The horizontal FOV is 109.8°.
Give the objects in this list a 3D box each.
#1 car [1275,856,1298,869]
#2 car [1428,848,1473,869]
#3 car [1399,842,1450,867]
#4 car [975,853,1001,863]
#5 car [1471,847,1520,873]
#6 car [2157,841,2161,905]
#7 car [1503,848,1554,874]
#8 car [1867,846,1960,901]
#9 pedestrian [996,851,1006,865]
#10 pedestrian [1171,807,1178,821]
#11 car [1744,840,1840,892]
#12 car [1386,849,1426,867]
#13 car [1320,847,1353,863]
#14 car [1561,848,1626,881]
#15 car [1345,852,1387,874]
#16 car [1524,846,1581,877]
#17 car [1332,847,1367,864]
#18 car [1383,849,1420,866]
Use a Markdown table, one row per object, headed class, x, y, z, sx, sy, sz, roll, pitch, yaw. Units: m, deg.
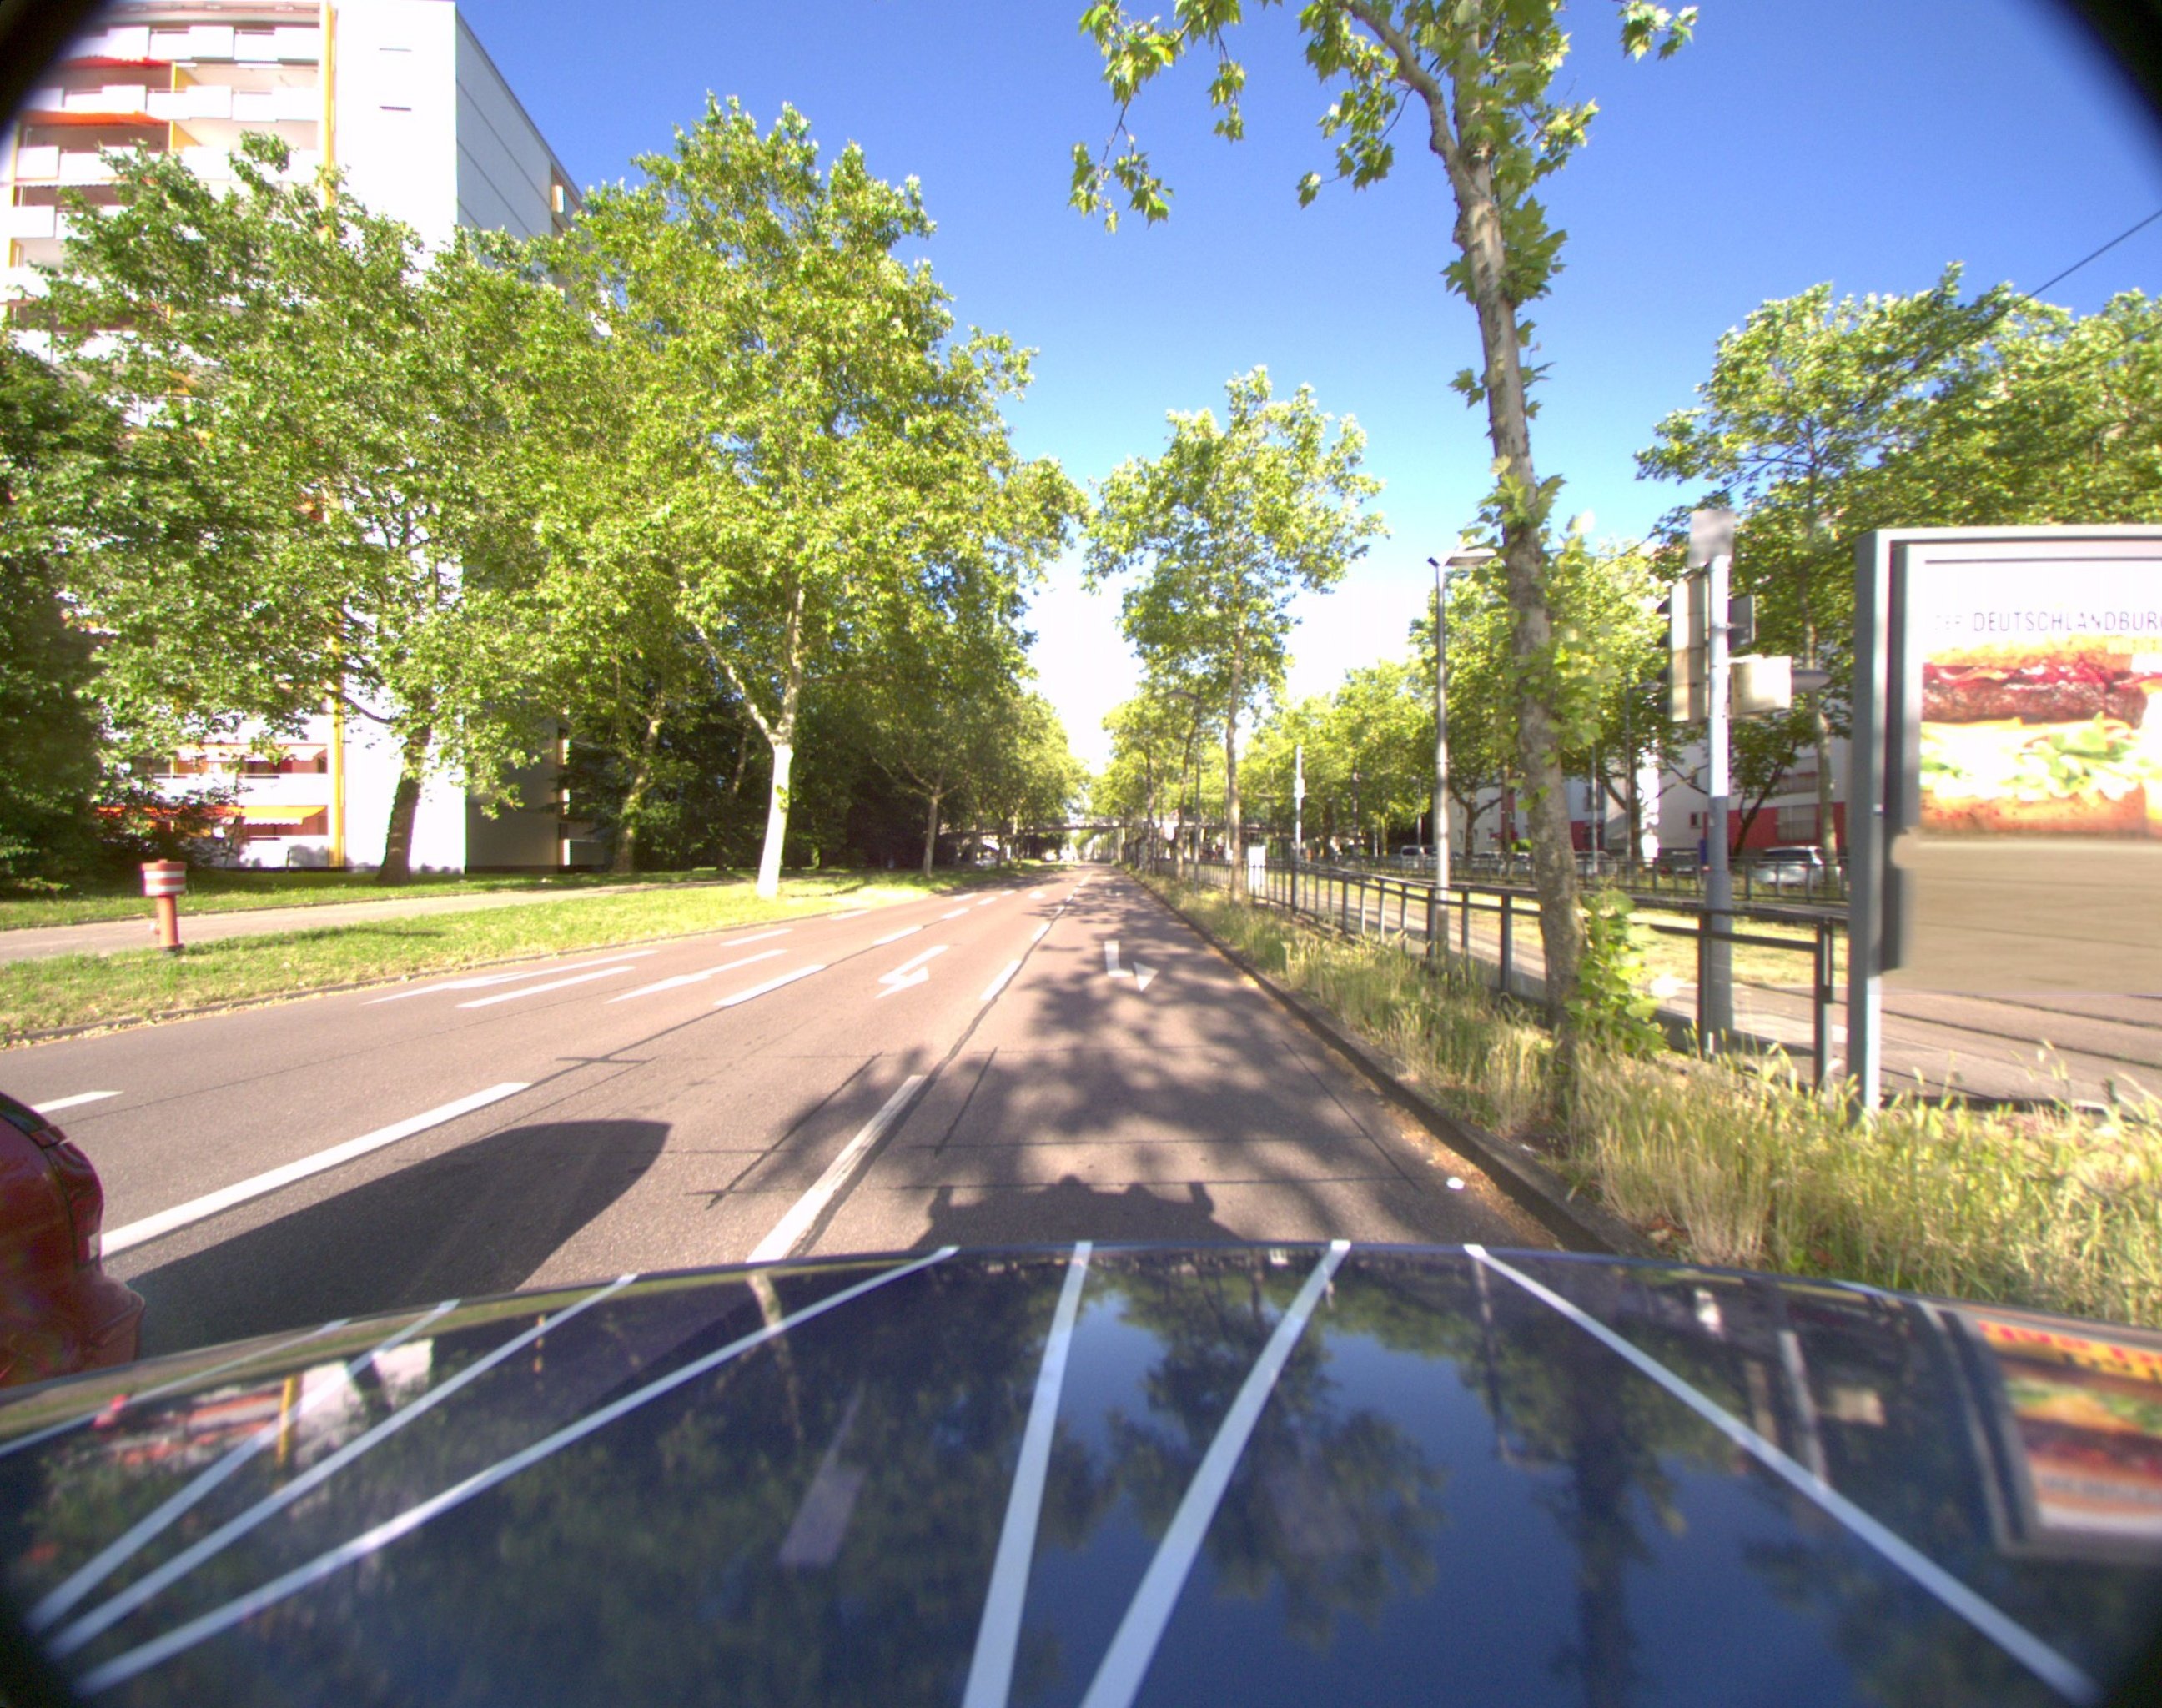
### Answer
| class | x | y | z | sx | sy | sz | roll | pitch | yaw |
| --- | --- | --- | --- | --- | --- | --- | --- | --- | --- |
| car | 25.599 | 1.092 | 94.690 | 1.769 | 1.503 | 4.102 | -1 | 0 | 1 |
| car | 26.235 | 0.309 | 53.953 | 3.494 | 1.395 | 1.623 | -1 | 1 | -41 |
| car | 25.774 | 0.049 | 56.928 | 4.056 | 1.802 | 1.864 | -1 | 1 | -40 |
| car | -14.880 | 0.610 | 121.420 | 3.999 | 1.465 | 1.797 | -3 | 1 | -8 |
| car | 25.913 | 0.354 | 47.416 | 3.493 | 1.417 | 1.558 | -3 | -1 | -42 |
| car | 24.589 | 0.502 | 15.981 | 4.007 | 1.479 | 1.689 | -3 | 1 | -44 |
| car | 26.282 | 0.393 | 44.612 | 3.493 | 1.321 | 1.476 | -3 | 0 | -41 |
| car | 25.237 | 0.541 | 22.999 | 3.770 | 1.420 | 1.555 | -3 | 1 | -37 |
| pedestrian | -11.664 | 0.555 | 111.115 | 0.917 | 2.002 | 0.964 | -2 | 1 | 37 |
| pedestrian | 12.504 | -5.360 | 101.896 | 0.738 | 1.873 | 0.511 | -3 | 1 | 0 |
| car | 25.222 | 0.404 | 26.927 | 4.007 | 1.586 | 1.810 | -3 | 1 | -37 |
| car | 25.800 | 0.287 | 60.292 | 3.494 | 1.336 | 1.476 | -1 | 1 | -41 |
| car | 26.789 | 0.091 | 79.601 | 3.742 | 1.517 | 1.597 | -1 | 1 | -43 |
| car | 25.517 | 0.519 | 37.766 | 3.890 | 1.406 | 1.486 | -3 | 1 | -37 |
| car | 21.067 | 0.626 | 56.383 | 1.810 | 1.514 | 4.332 | -1 | 0 | 5 |
| car | 25.699 | 0.411 | 41.377 | 3.402 | 1.499 | 1.461 | -3 | 1 | -37 |
| car | 25.931 | 0.100 | 73.259 | 3.835 | 1.561 | 1.597 | -1 | 1 | -43 |
| car | 27.001 | 0.297 | 64.057 | 3.494 | 1.293 | 1.476 | -1 | 1 | -41 |
